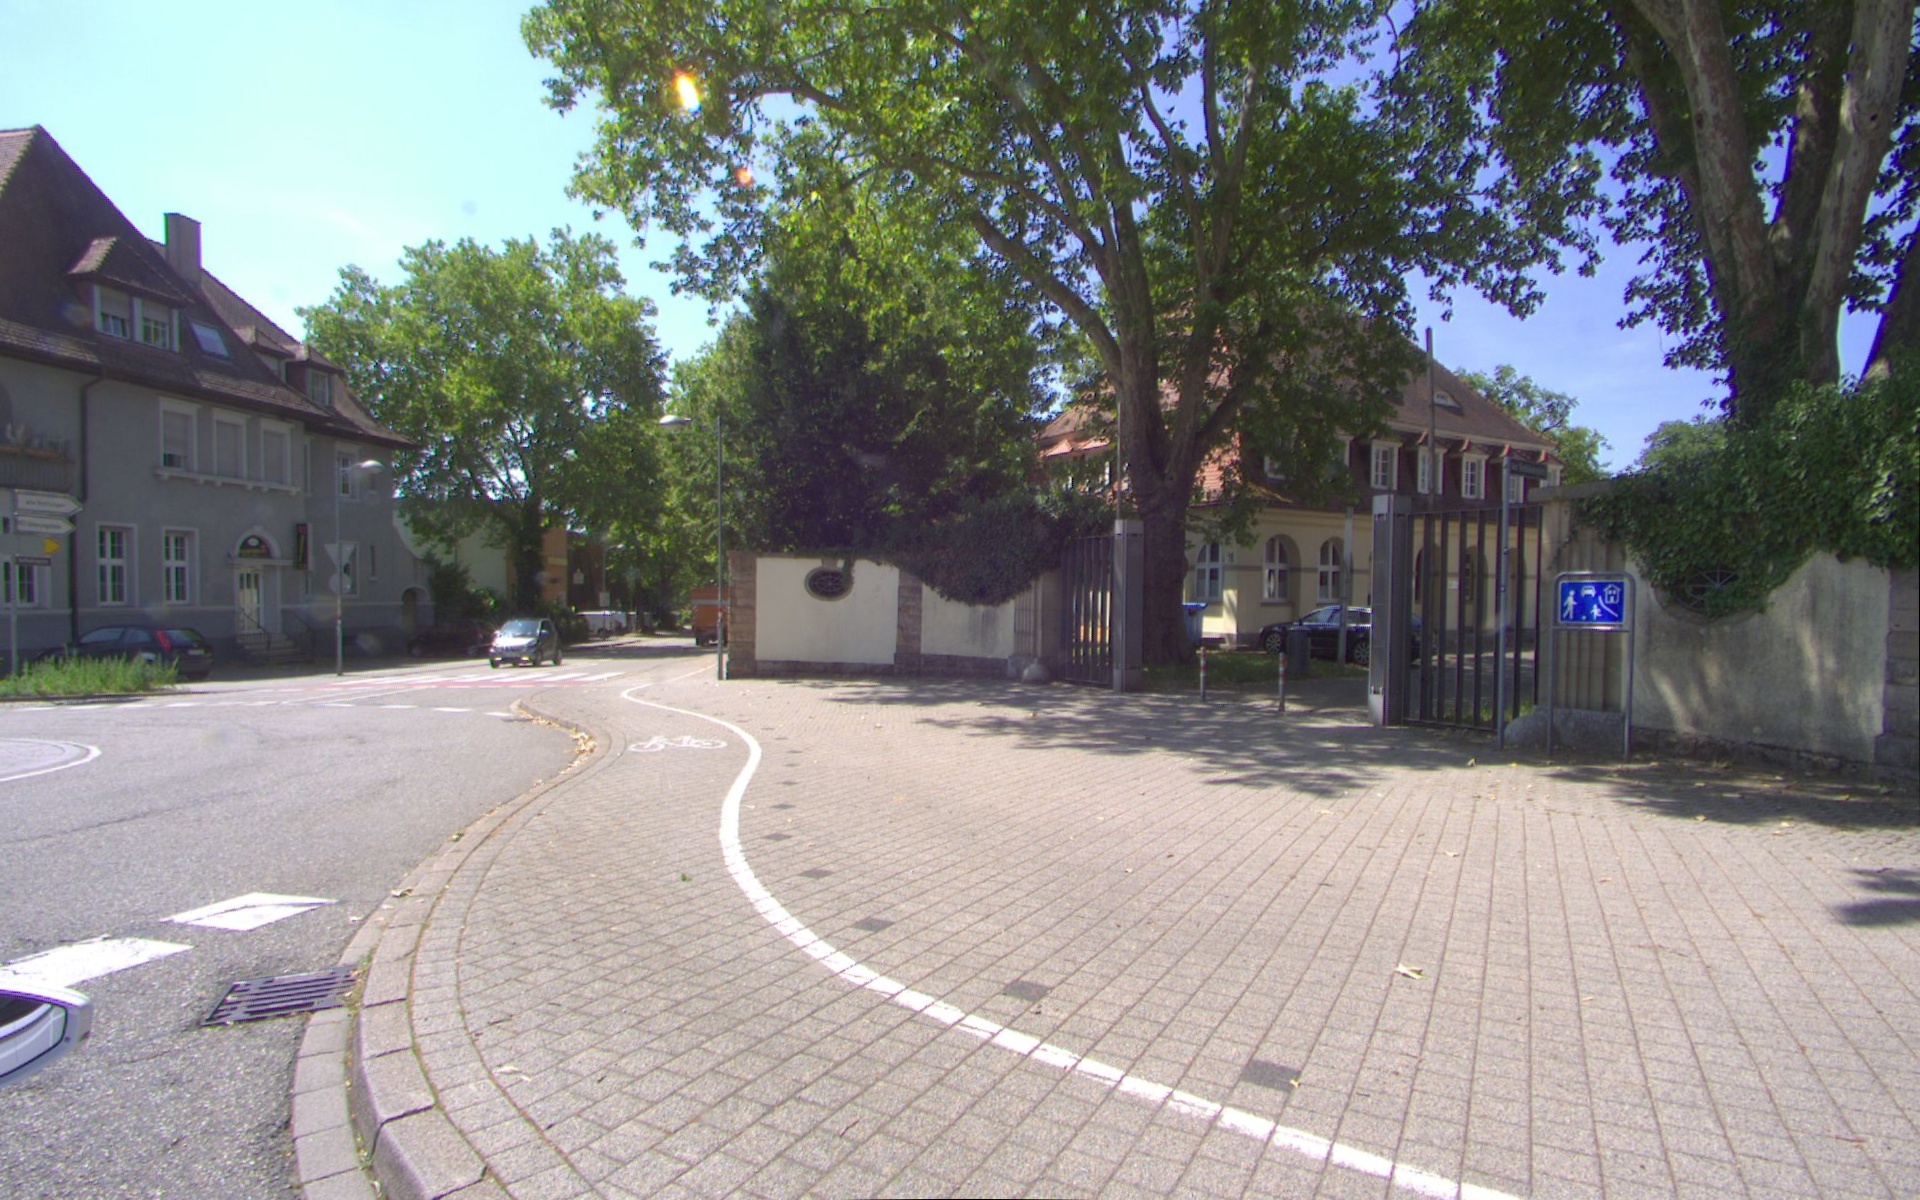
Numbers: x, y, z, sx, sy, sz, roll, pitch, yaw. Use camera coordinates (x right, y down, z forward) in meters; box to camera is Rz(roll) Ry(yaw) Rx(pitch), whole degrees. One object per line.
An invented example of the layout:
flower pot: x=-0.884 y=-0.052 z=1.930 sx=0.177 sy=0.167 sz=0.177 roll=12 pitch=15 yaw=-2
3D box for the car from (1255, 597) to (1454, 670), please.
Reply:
car: x=10.096 y=0.779 z=26.000 sx=1.972 sy=1.423 sz=4.472 roll=0 pitch=4 yaw=-31

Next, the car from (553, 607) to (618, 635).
car: x=-26.072 y=1.486 z=69.834 sx=3.925 sy=1.816 sz=1.867 roll=2 pitch=-1 yaw=-10

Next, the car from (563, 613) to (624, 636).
car: x=-27.142 y=1.800 z=74.240 sx=3.925 sy=1.535 sz=1.867 roll=2 pitch=-1 yaw=-10

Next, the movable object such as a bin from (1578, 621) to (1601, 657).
movable object such as a bin: x=18.450 y=1.134 z=29.369 sx=0.530 sy=1.021 sz=0.525 roll=0 pitch=0 yaw=28

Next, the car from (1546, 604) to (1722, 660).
car: x=22.642 y=1.012 z=33.831 sx=1.972 sy=1.423 sz=4.472 roll=0 pitch=4 yaw=-31

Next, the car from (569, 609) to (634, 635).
car: x=-27.407 y=1.681 z=76.721 sx=4.355 sy=1.827 sz=1.902 roll=2 pitch=-1 yaw=-11

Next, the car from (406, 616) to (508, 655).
car: x=-20.696 y=1.454 z=41.252 sx=3.326 sy=1.567 sz=1.724 roll=0 pitch=0 yaw=3

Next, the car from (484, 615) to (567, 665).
car: x=-14.032 y=1.265 z=32.481 sx=1.539 sy=1.550 sz=2.789 roll=0 pitch=-1 yaw=-1

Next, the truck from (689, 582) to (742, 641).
truck: x=-13.908 y=0.722 z=57.279 sx=2.333 sy=3.173 sz=5.769 roll=0 pitch=-2 yaw=-7

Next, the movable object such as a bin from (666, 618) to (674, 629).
movable object such as a bin: x=-29.808 y=2.432 z=102.896 sx=0.613 sy=1.062 sz=0.620 roll=0 pitch=0 yaw=0

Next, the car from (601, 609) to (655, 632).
car: x=-28.164 y=1.754 z=84.958 sx=4.065 sy=1.827 sz=1.902 roll=2 pitch=-1 yaw=-10

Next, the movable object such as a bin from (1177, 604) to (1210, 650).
movable object such as a bin: x=6.761 y=0.780 z=29.046 sx=0.661 sy=1.314 sz=0.672 roll=0 pitch=0 yaw=-41

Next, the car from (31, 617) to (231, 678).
car: x=-21.017 y=1.186 z=25.469 sx=3.719 sy=1.479 sz=1.724 roll=0 pitch=-1 yaw=3

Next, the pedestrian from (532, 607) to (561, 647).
pedestrian: x=-18.880 y=1.230 z=45.715 sx=0.857 sy=1.765 sz=1.112 roll=0 pitch=0 yaw=2
